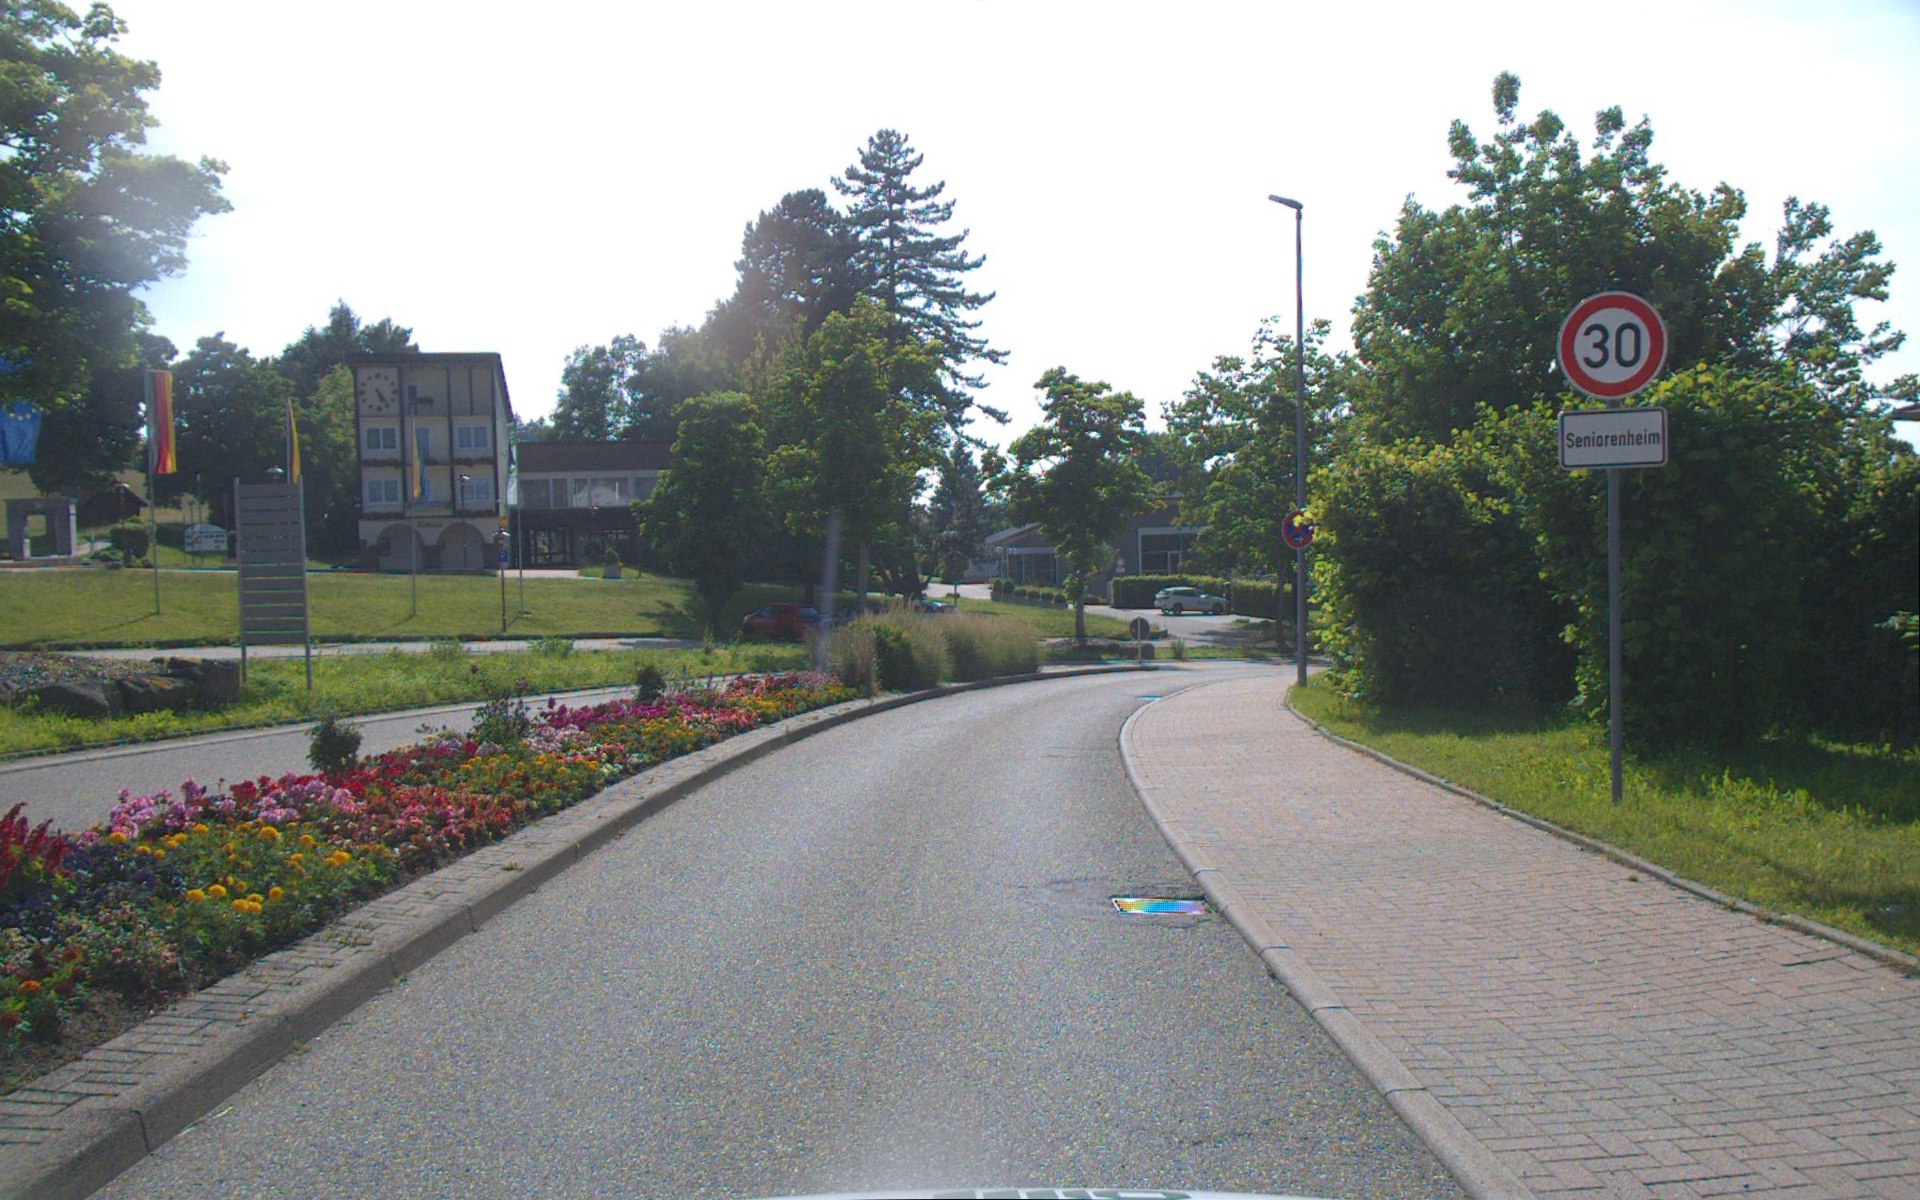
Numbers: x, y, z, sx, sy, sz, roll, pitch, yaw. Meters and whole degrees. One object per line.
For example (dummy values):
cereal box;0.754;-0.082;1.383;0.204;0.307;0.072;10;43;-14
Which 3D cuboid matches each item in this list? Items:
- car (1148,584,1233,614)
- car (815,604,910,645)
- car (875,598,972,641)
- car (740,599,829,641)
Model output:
car;13.813;-0.081;99.294;4.639;1.560;1.992;-1;5;-17
car;-3.965;0.978;66.956;3.647;1.458;1.766;2;0;41
car;-1.562;0.823;70.073;3.870;1.637;1.766;2;0;41
car;-6.881;0.762;64.702;3.148;1.496;1.767;2;0;40
